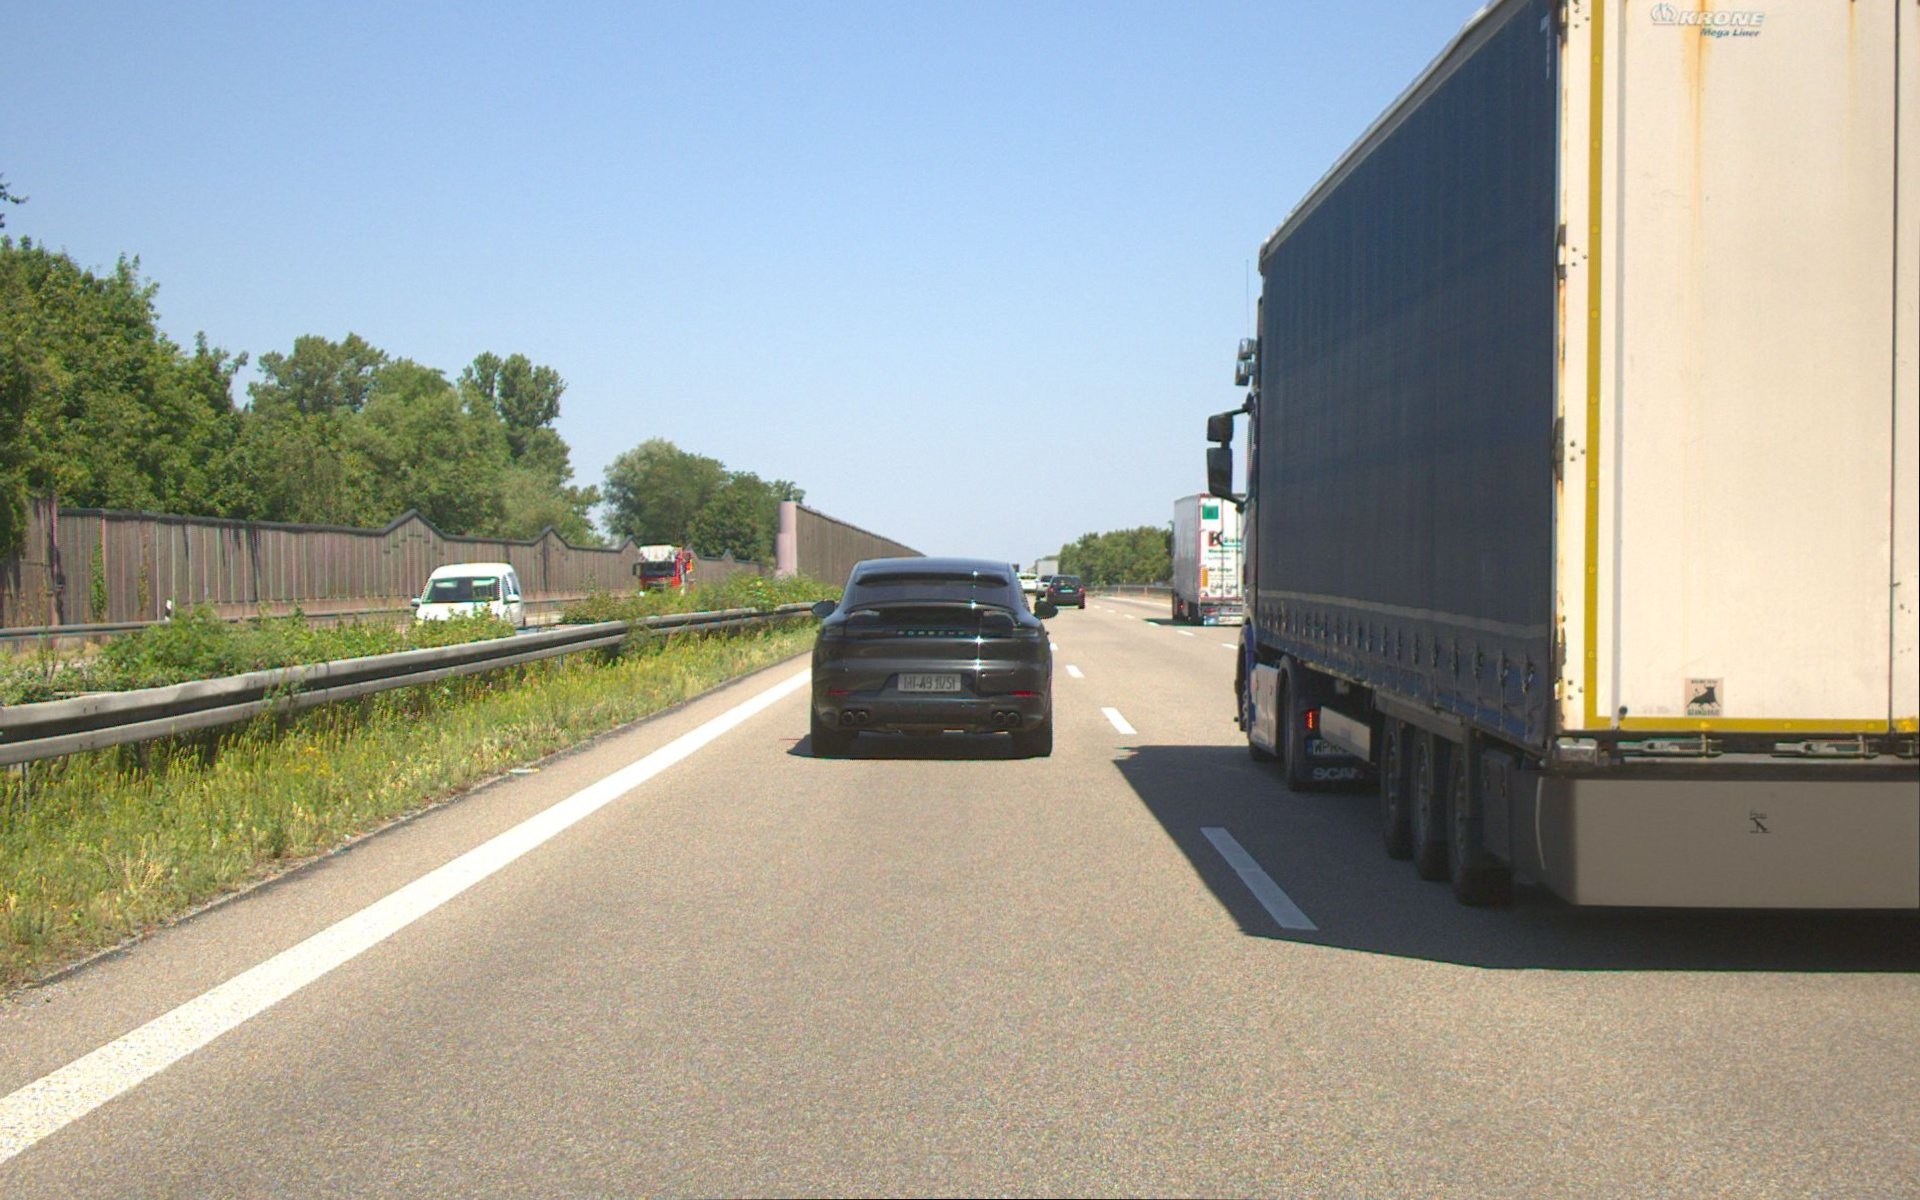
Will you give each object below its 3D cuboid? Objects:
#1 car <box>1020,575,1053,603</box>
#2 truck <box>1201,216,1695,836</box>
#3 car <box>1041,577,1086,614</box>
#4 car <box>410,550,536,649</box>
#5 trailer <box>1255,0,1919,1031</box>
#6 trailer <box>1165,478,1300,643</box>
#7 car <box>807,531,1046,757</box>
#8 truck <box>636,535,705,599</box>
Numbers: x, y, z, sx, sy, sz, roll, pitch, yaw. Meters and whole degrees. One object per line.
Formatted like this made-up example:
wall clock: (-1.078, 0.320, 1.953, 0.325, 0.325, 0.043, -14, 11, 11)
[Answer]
car: (4.508, -0.660, 203.561, 1.903, 1.578, 4.304, 0, -1, 1)
truck: (3.515, -0.508, 26.519, 2.700, 4.104, 6.991, 1, 0, 0)
car: (4.495, -0.186, 150.159, 1.903, 1.578, 4.304, 0, -1, 1)
car: (-9.364, -0.021, 66.380, 1.782, 1.834, 4.559, -1, 0, 0)
trailer: (3.493, -0.477, 18.849, 2.700, 4.104, 12.131, 1, 0, 0)
trailer: (8.465, -1.190, 108.444, 3.269, 4.821, 14.028, 1, 0, 1)
car: (-0.298, 0.335, 29.341, 1.880, 1.786, 4.000, 1, 0, -1)
truck: (-16.165, -1.820, 192.670, 2.699, 3.480, 10.853, 1, 0, 1)
